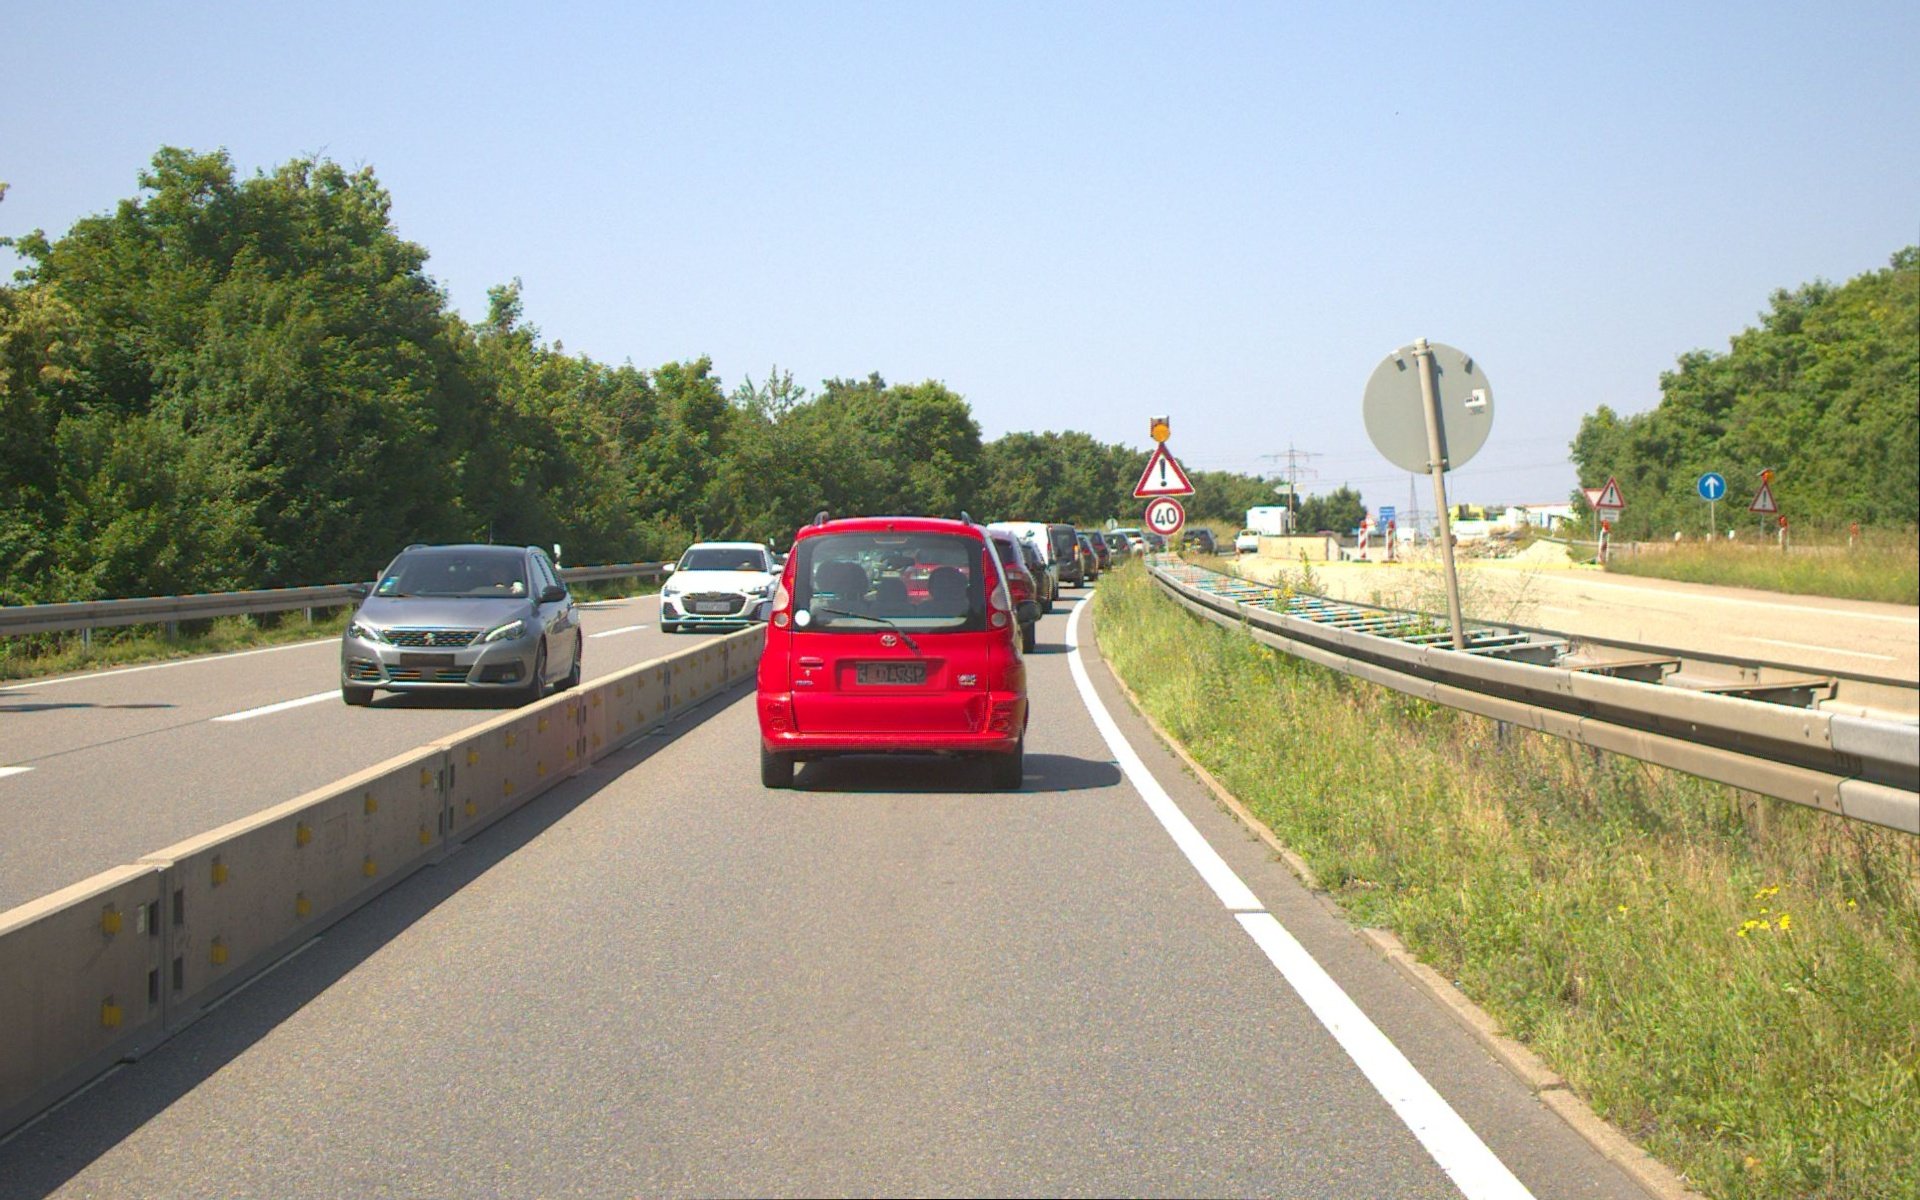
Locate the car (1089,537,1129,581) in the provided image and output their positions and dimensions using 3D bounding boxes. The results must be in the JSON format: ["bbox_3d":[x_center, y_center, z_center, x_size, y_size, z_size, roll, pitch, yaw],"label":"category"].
[{"bbox_3d":[5.973,-1.661,137.372,1.502,1.730,3.169,1,1,4],"label":"car"}]

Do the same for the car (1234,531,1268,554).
[{"bbox_3d":[18.875,-3.745,222.995,1.994,1.481,4.000,-1,1,3],"label":"car"}]

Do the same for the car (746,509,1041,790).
[{"bbox_3d":[-0.429,0.254,22.417,1.751,1.667,4.000,0,1,-1],"label":"car"}]

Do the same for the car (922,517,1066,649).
[{"bbox_3d":[0.425,-0.262,46.975,1.830,1.716,4.000,-1,1,-1],"label":"car"}]

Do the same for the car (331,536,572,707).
[{"bbox_3d":[-4.709,0.157,32.365,1.724,1.491,4.389,0,1,-1],"label":"car"}]

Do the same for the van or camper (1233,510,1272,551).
[{"bbox_3d":[20.009,-4.748,235.308,2.328,2.697,4.593,-1,1,2],"label":"van or camper"}]

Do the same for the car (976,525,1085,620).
[{"bbox_3d":[1.381,-0.564,68.718,1.993,1.831,4.000,0,1,-1],"label":"car"}]

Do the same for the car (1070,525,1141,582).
[{"bbox_3d":[4.610,-1.487,109.189,1.993,1.777,4.000,0,1,-1],"label":"car"}]

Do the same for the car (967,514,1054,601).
[{"bbox_3d":[1.198,-1.020,81.392,1.993,1.997,4.000,0,1,1],"label":"car"}]

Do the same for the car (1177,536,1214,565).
[{"bbox_3d":[12.937,-2.714,189.046,1.994,1.546,4.000,0,1,4],"label":"car"}]

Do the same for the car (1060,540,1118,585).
[{"bbox_3d":[4.634,-1.374,123.982,1.993,1.579,4.000,0,1,1],"label":"car"}]

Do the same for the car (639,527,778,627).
[{"bbox_3d":[-4.017,-0.398,55.539,1.948,1.533,4.436,0,1,-1],"label":"car"}]

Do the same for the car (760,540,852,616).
[{"bbox_3d":[-3.361,-0.504,75.661,1.829,1.624,3.784,0,1,1],"label":"car"}]

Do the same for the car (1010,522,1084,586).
[{"bbox_3d":[2.429,-1.316,97.102,1.993,1.744,4.000,0,1,0],"label":"car"}]
